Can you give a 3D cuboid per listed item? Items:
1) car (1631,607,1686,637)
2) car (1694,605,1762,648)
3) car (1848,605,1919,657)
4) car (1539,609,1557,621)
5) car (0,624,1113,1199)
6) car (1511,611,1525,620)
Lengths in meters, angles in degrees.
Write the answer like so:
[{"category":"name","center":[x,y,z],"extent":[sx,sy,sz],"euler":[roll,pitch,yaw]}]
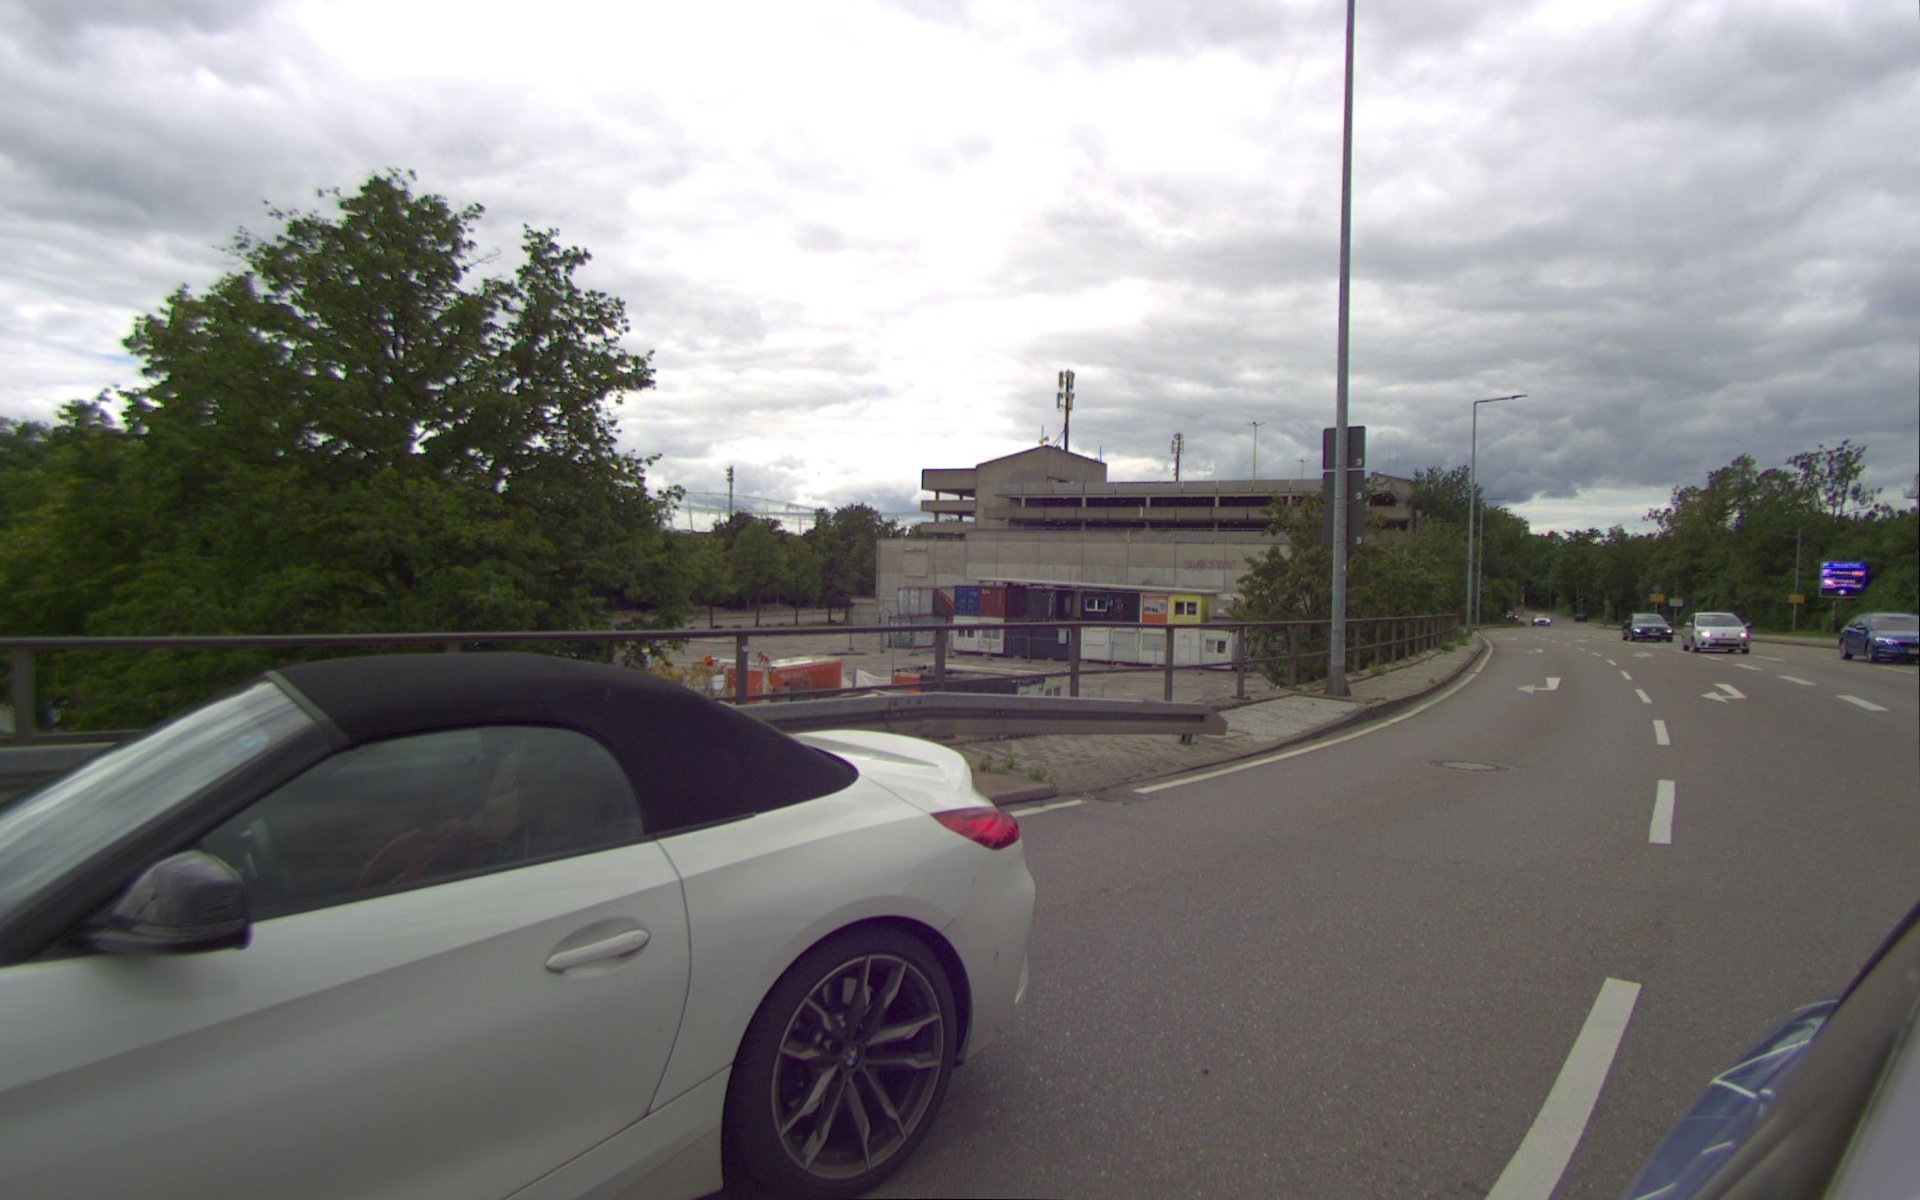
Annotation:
[{"category":"car","center":[35.611,1.074,51.675],"extent":[1.849,1.434,4.294],"euler":[1,0,29]},{"category":"car","center":[27.745,0.924,36.634],"extent":[1.598,1.434,3.550],"euler":[1,0,32]},{"category":"car","center":[27.991,0.875,29.881],"extent":[1.828,1.434,4.530],"euler":[1,0,30]},{"category":"car","center":[71.915,1.857,123.801],"extent":[1.850,1.434,4.292],"euler":[1,0,30]},{"category":"car","center":[-1.732,0.758,2.394],"extent":[4.186,1.308,1.809],"euler":[0,0,-39]},{"category":"car","center":[94.091,2.628,170.734],"extent":[1.848,1.434,4.298],"euler":[1,0,26]}]
